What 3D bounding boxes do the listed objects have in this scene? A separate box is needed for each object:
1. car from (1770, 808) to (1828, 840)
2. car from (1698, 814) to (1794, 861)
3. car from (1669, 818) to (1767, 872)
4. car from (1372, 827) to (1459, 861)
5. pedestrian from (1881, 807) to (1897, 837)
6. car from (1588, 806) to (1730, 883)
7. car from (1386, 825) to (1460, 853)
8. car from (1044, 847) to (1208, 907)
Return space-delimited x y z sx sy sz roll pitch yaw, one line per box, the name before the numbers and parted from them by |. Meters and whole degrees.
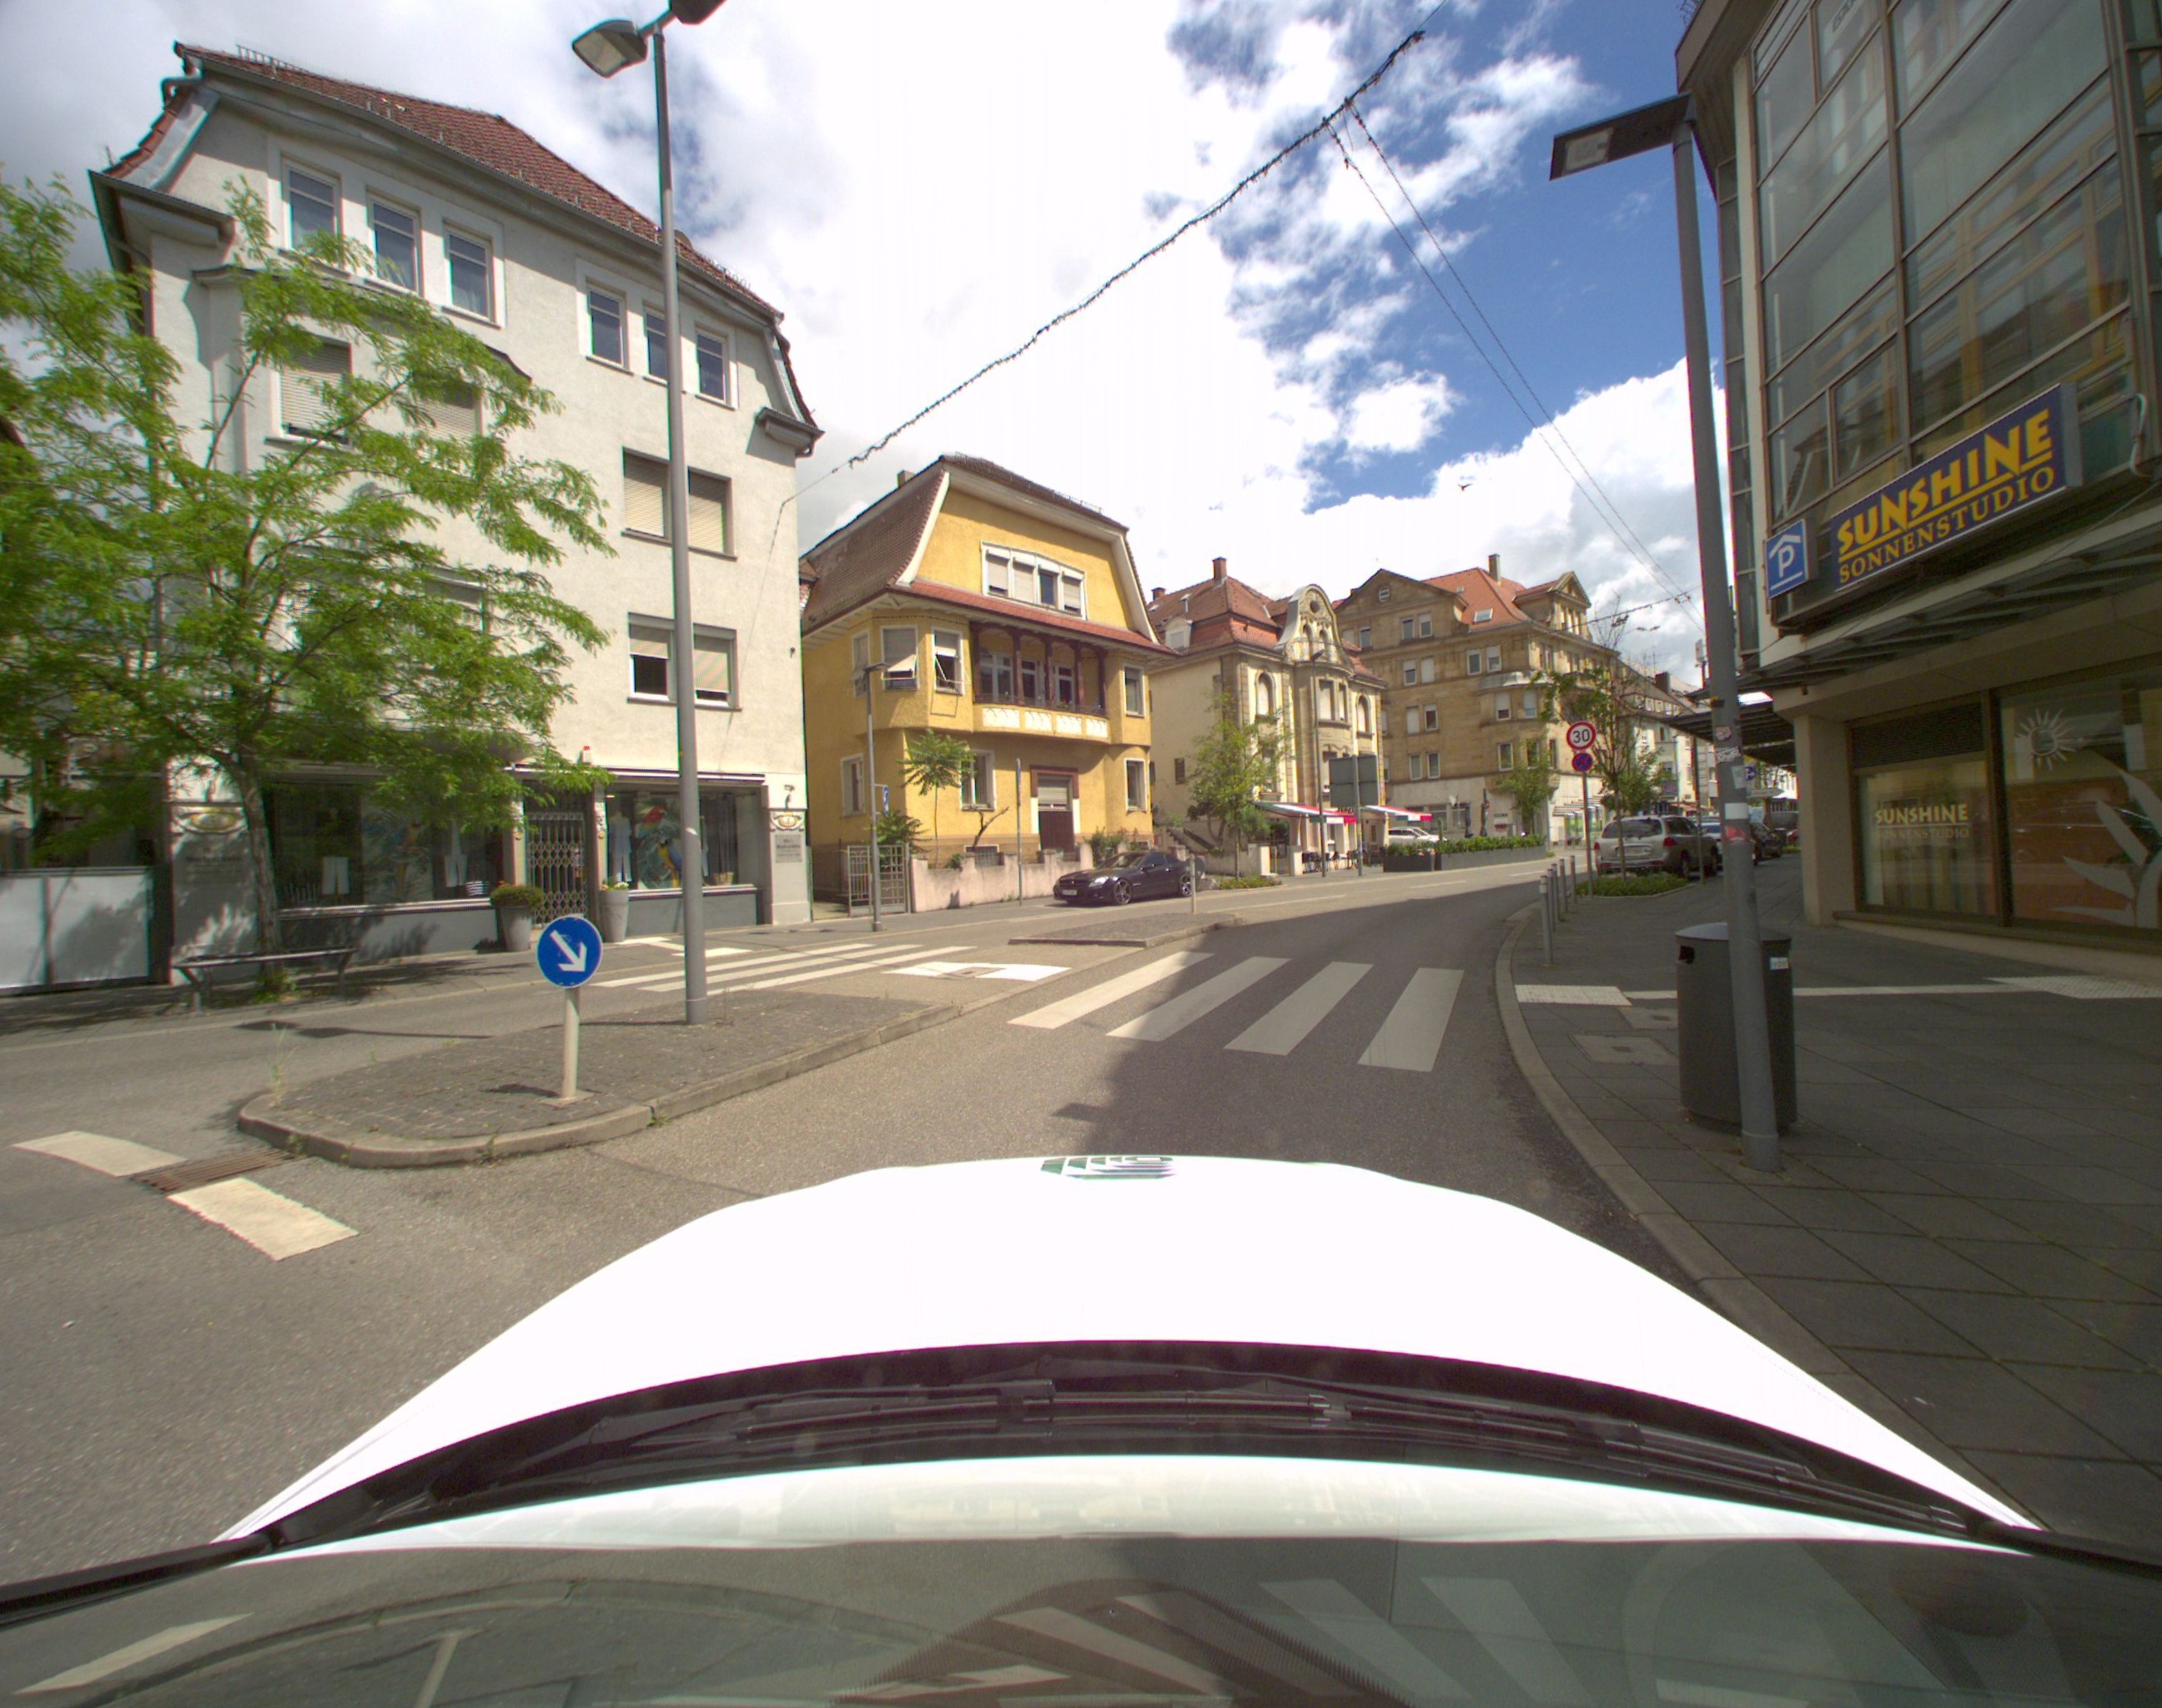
car | 45.931 -1.926 52.073 5.063 1.875 1.955 -3 0 -39
car | 24.218 -0.620 29.597 4.254 1.519 1.809 -2 -1 -39
car | 19.385 -0.293 24.718 4.263 1.434 1.607 -3 0 -42
car | 19.549 -0.592 47.592 4.375 1.775 2.013 -2 0 32
pedestrian | 56.000 -2.226 56.471 0.602 2.013 0.676 -2 0 -38
car | 14.816 -0.256 20.783 4.254 1.731 1.809 -2 -1 -39
car | 22.220 -0.959 52.938 3.949 1.662 1.921 -2 0 43
car | 1.268 0.551 21.164 4.437 1.245 1.694 -3 1 -45
